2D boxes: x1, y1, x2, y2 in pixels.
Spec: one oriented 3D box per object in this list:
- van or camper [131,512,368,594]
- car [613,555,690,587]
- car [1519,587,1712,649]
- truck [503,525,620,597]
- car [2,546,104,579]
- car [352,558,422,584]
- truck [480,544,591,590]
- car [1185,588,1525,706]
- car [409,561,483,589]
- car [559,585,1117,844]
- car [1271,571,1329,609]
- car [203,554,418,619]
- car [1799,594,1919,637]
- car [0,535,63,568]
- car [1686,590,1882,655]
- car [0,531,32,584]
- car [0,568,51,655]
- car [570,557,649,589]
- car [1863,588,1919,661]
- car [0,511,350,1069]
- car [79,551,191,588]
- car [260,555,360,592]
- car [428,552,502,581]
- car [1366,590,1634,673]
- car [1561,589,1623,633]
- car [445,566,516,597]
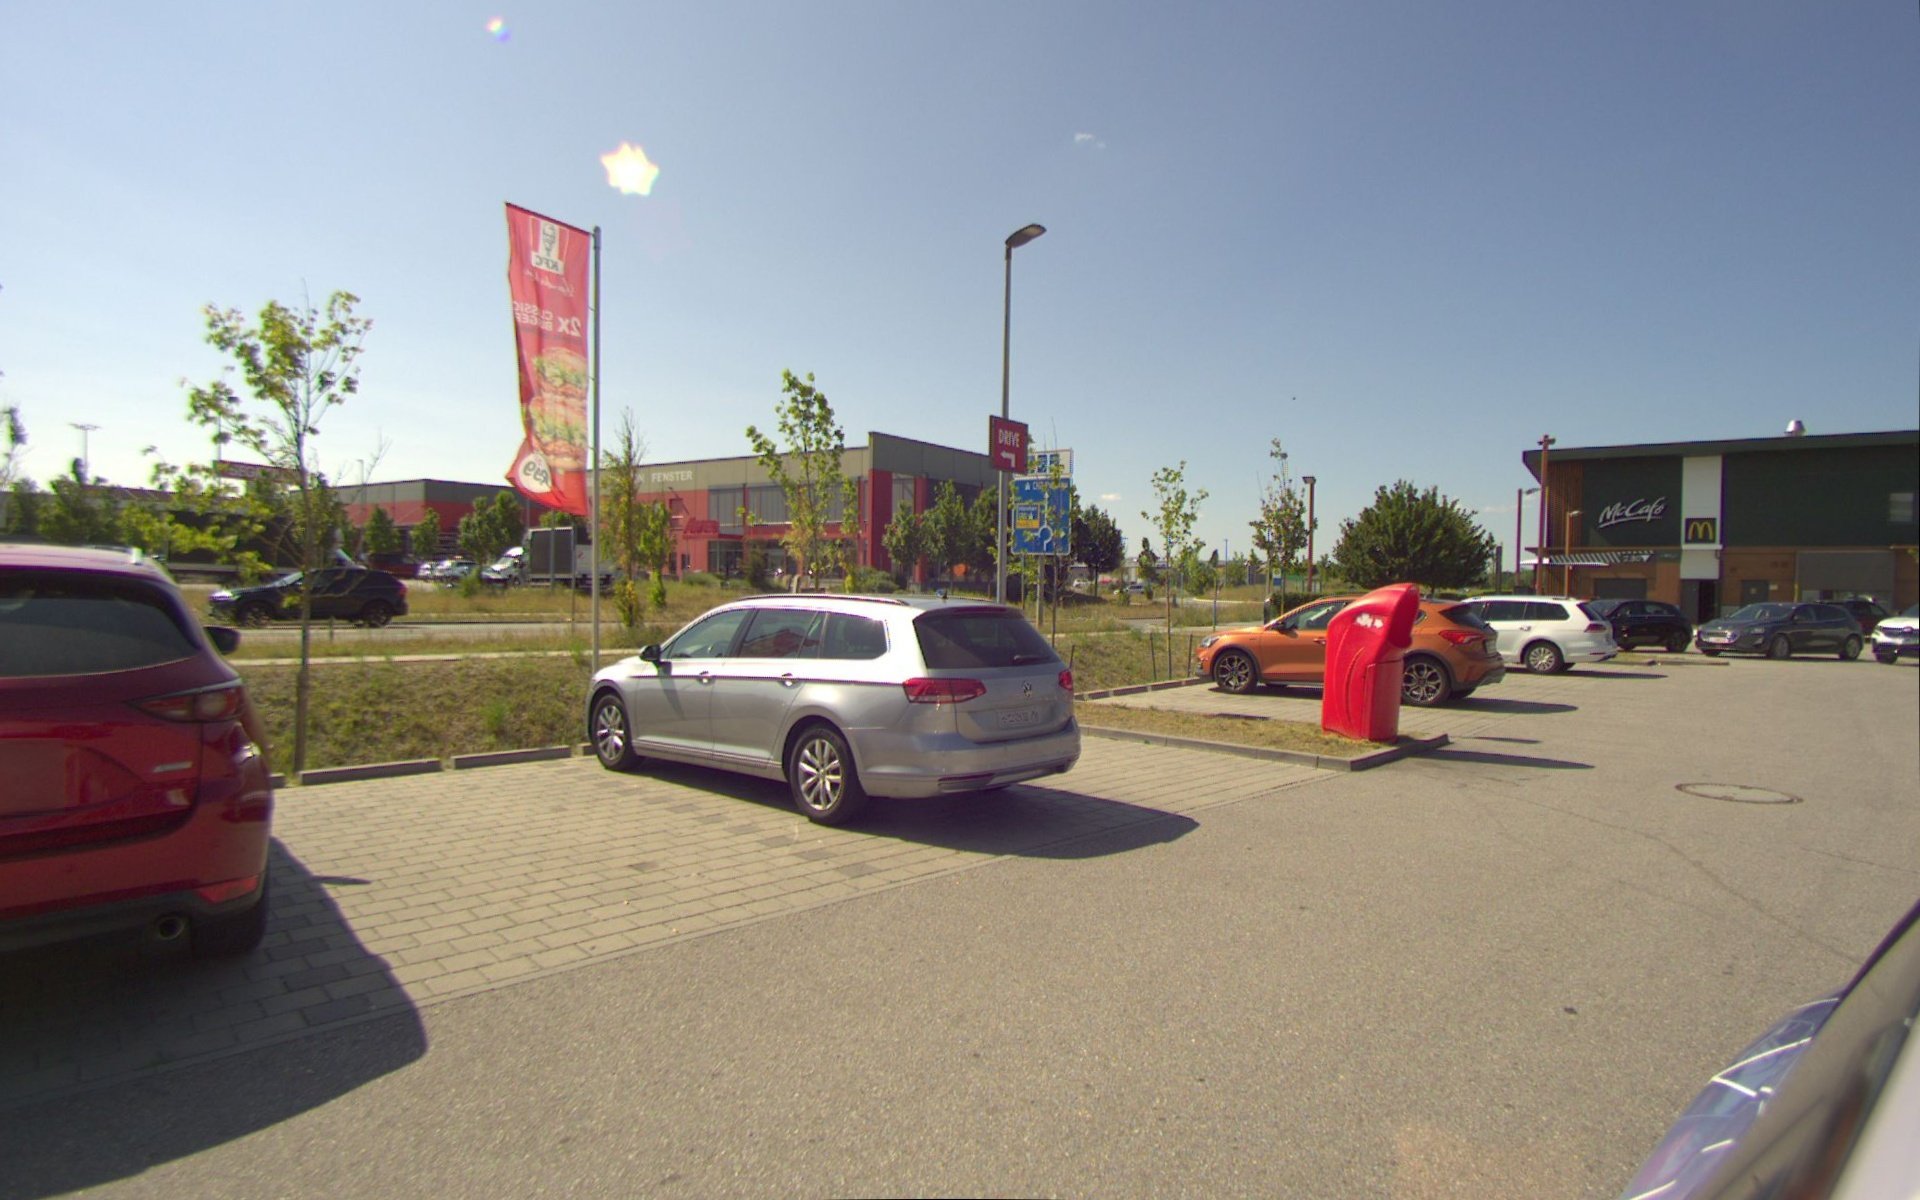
[{"bbox_3d":[-30.145,-1.932,43.368,7.886,3.141,2.424,1,0,-23],"label":"van or camper"},{"bbox_3d":[-19.096,-1.769,62.801,1.942,1.879,4.351,1,0,33],"label":"car"},{"bbox_3d":[17.933,0.481,27.785,4.242,1.545,1.979,1,1,-12],"label":"car"},{"bbox_3d":[-20.971,-1.998,53.125,6.800,3.524,2.729,2,0,40],"label":"truck"},{"bbox_3d":[-56.201,-2.294,62.763,1.942,1.879,4.351,1,0,33],"label":"car"},{"bbox_3d":[-44.470,-2.255,78.582,1.942,1.879,4.351,1,0,33],"label":"car"},{"bbox_3d":[-28.331,-2.152,67.867,1.942,2.850,6.973,1,0,33],"label":"truck"},{"bbox_3d":[5.686,0.585,14.874,4.334,1.488,1.806,0,0,41],"label":"car"},{"bbox_3d":[-37.487,-1.823,73.893,2.034,1.879,4.351,1,0,33],"label":"car"},{"bbox_3d":[-1.191,0.615,7.798,4.584,1.431,1.714,1,0,42],"label":"car"},{"bbox_3d":[20.647,-0.585,61.304,1.987,2.224,5.042,1,0,34],"label":"car"},{"bbox_3d":[-17.759,-0.339,27.794,4.721,1.645,1.997,1,0,-41],"label":"car"},{"bbox_3d":[37.174,0.638,41.616,4.373,1.623,1.967,1,0,-17],"label":"car"},{"bbox_3d":[-62.896,-3.255,67.749,1.988,2.039,3.947,1,0,36],"label":"car"},{"bbox_3d":[20.970,0.570,25.774,4.118,1.545,1.980,1,0,-19],"label":"car"},{"bbox_3d":[-35.999,-1.569,37.251,1.917,1.879,4.407,1,0,-32],"label":"car"},{"bbox_3d":[-18.926,0.157,17.594,4.579,1.546,1.996,1,0,-44],"label":"car"},{"bbox_3d":[-21.927,-1.648,63.465,1.942,1.879,4.351,1,0,33],"label":"car"},{"bbox_3d":[23.851,0.596,24.019,4.119,1.675,1.979,1,0,-22],"label":"car"},{"bbox_3d":[-4.334,0.548,4.509,1.918,1.658,4.221,0,0,-43],"label":"car"},{"bbox_3d":[-45.062,-1.635,55.349,1.942,1.879,4.351,1,0,33],"label":"car"},{"bbox_3d":[-35.685,-1.433,55.672,1.857,1.879,4.216,1,0,33],"label":"car"},{"bbox_3d":[-35.098,-2.359,71.857,1.942,1.879,4.351,1,0,33],"label":"car"},{"bbox_3d":[10.722,0.549,20.288,4.462,1.488,1.806,0,0,41],"label":"car"},{"bbox_3d":[26.675,0.429,42.836,1.980,1.712,4.193,2,1,29],"label":"car"},{"bbox_3d":[-23.738,-0.920,50.060,3.947,1.478,1.632,2,0,39],"label":"car"}]
